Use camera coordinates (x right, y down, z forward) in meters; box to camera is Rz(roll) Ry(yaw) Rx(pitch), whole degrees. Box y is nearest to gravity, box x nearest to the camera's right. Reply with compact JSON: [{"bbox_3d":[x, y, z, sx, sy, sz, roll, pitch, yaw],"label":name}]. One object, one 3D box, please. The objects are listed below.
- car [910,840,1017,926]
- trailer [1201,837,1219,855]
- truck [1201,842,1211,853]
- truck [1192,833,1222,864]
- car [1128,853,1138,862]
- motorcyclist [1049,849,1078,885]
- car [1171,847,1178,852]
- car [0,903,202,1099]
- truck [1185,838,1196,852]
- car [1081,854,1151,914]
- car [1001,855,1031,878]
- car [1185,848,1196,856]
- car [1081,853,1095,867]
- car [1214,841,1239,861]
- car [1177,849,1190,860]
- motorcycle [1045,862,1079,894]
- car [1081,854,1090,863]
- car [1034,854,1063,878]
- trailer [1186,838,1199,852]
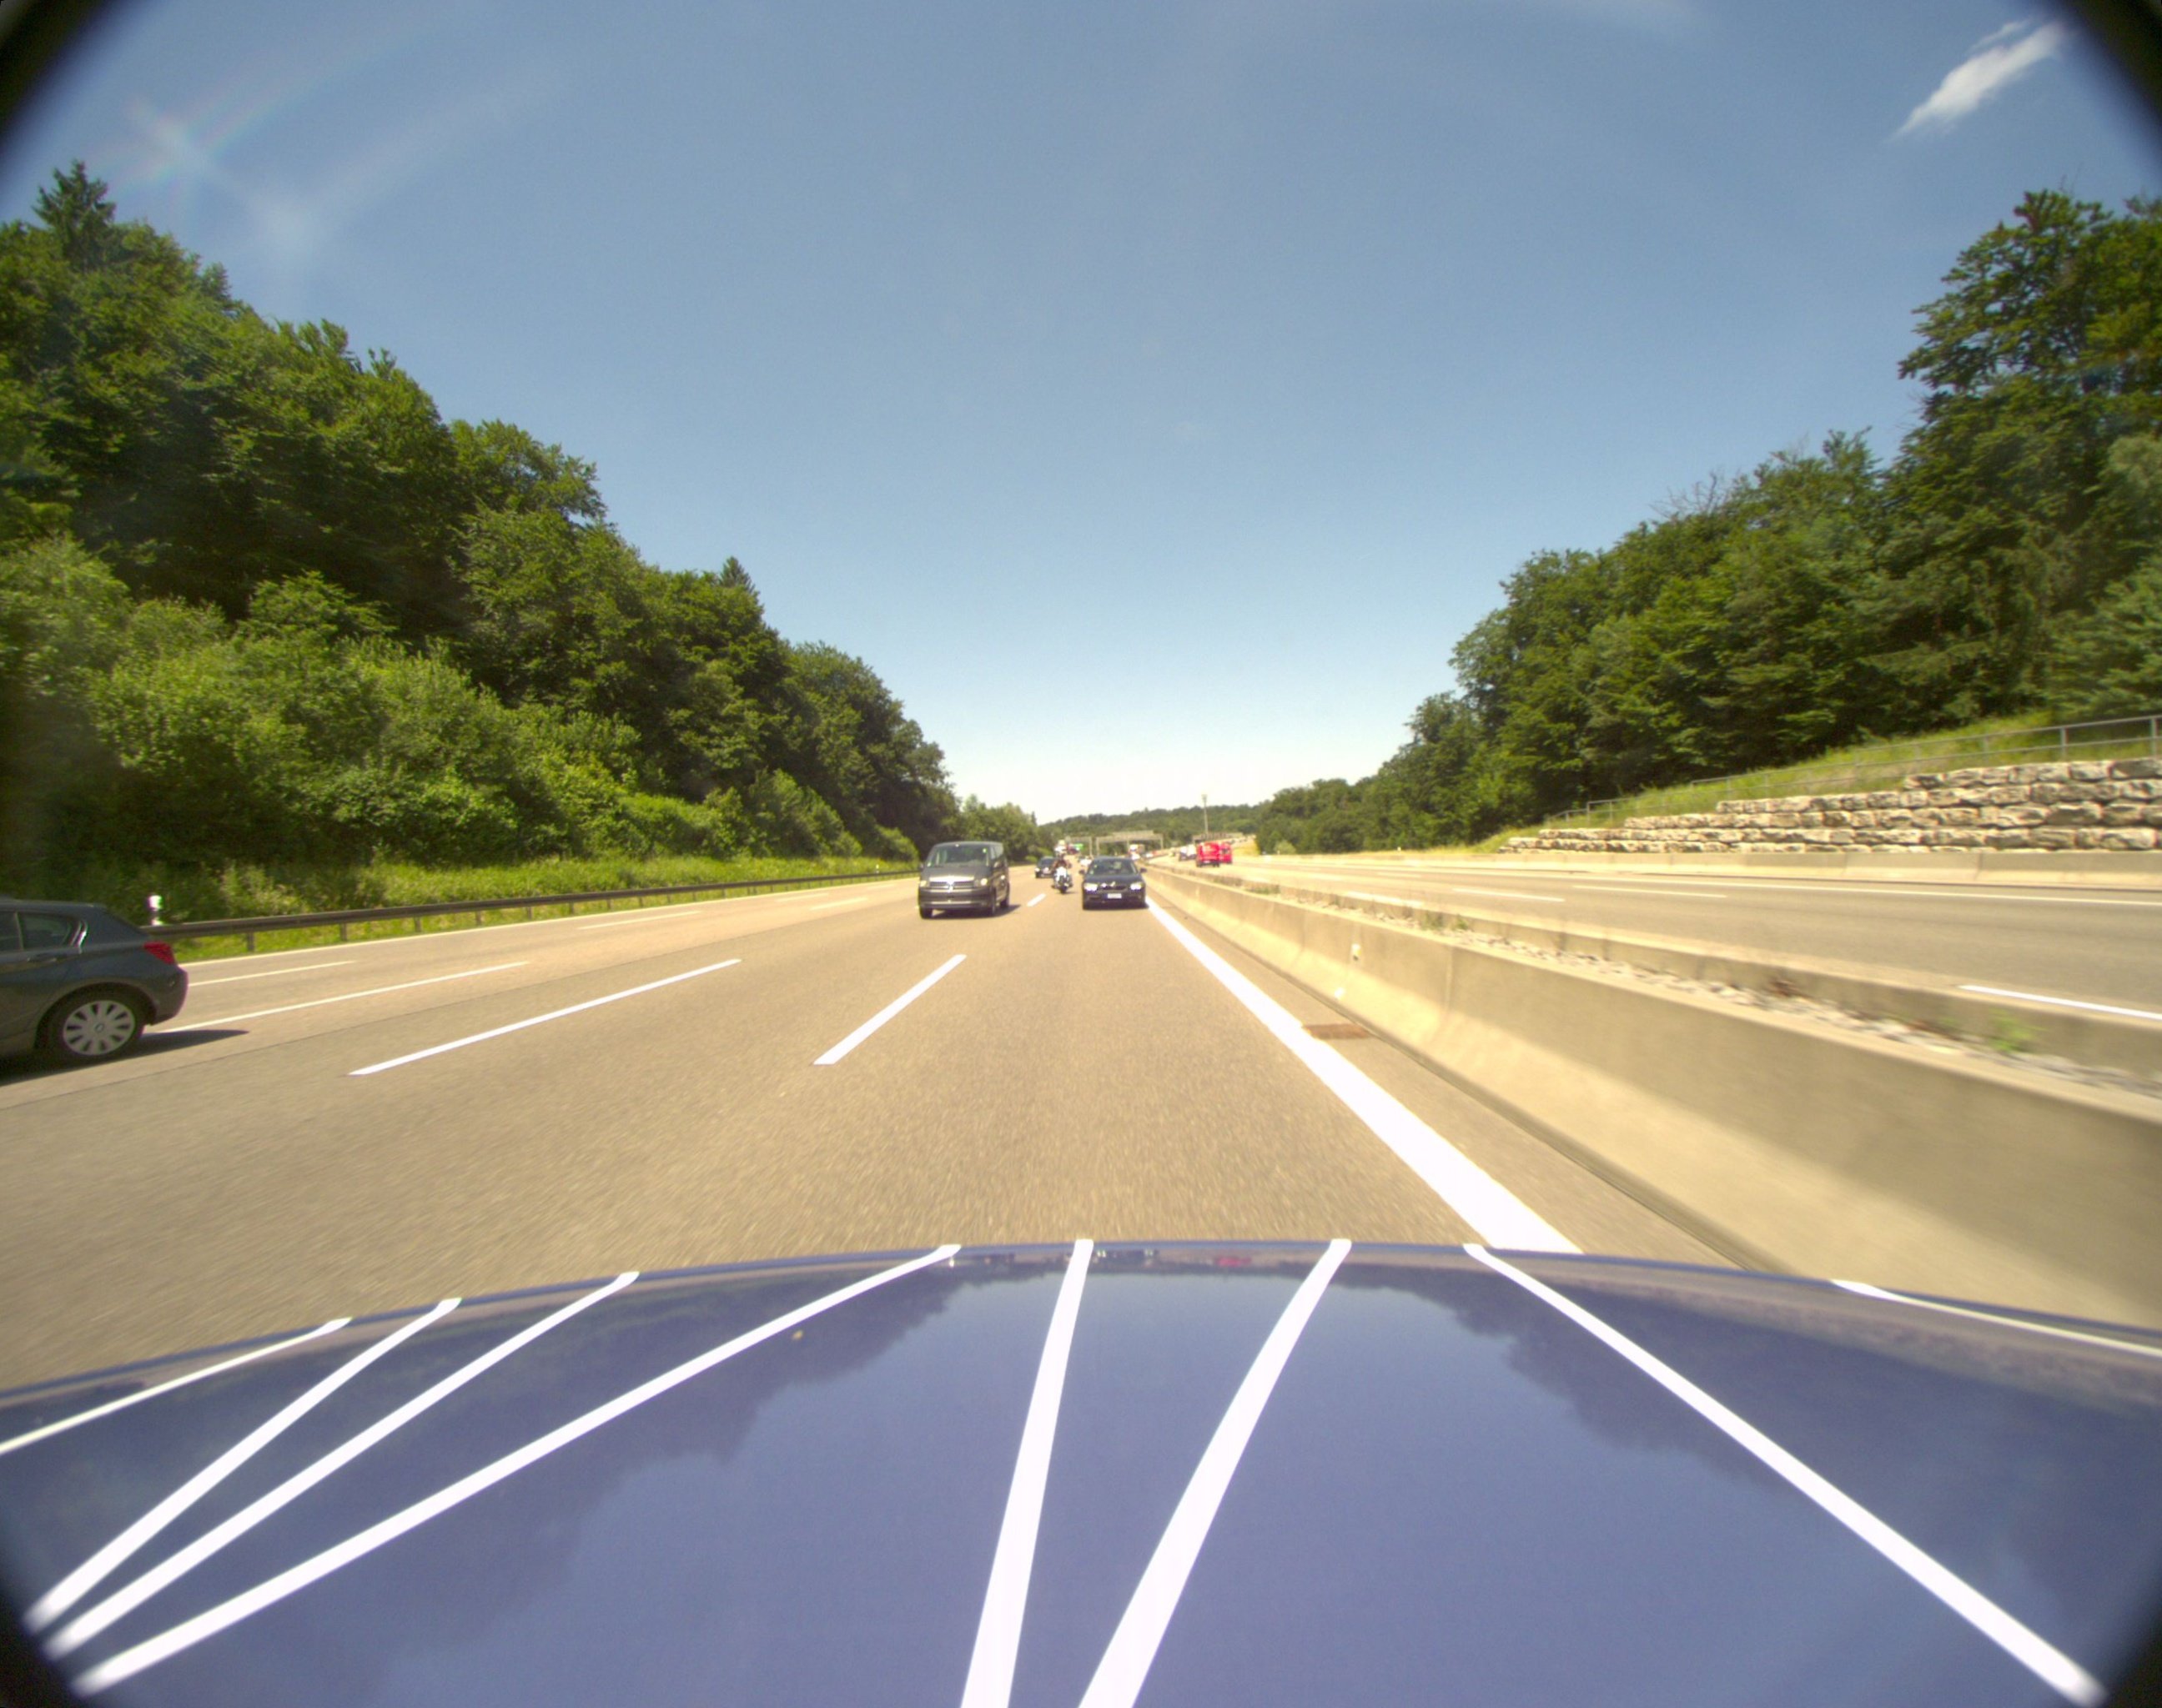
[{"bbox_3d":[-3.081,0.694,21.101,1.967,2.022,5.083,-2,0,2],"label":"car"},{"bbox_3d":[30.699,-1.925,181.108,2.729,3.981,13.728,-2,0,4],"label":"trailer"},{"bbox_3d":[42.696,-2.153,259.446,2.615,3.446,9.885,-3,1,6],"label":"truck"},{"bbox_3d":[13.009,-0.546,78.741,2.115,2.959,7.016,-3,-1,2],"label":"truck"},{"bbox_3d":[11.490,0.770,168.121,1.998,2.002,4.001,-3,0,3],"label":"car"},{"bbox_3d":[-0.695,0.508,30.474,0.853,1.419,1.024,-1,2,18],"label":"motorcyclist"},{"bbox_3d":[31.420,-1.427,255.067,1.998,1.695,4.954,-2,0,5],"label":"car"},{"bbox_3d":[-9.080,1.191,4.946,1.706,1.388,4.154,-2,0,3],"label":"car"},{"bbox_3d":[31.195,-2.499,216.060,2.536,3.917,6.803,-2,0,4],"label":"truck"},{"bbox_3d":[1.045,0.802,22.032,1.769,1.496,4.001,-3,0,4],"label":"car"},{"bbox_3d":[-4.604,0.874,54.351,1.754,1.510,4.483,-2,0,-1],"label":"car"},{"bbox_3d":[24.153,-0.424,167.695,1.998,1.474,4.581,-3,0,5],"label":"car"},{"bbox_3d":[1.037,0.868,114.089,1.730,1.522,3.739,12,5,1],"label":"car"},{"bbox_3d":[17.955,-0.325,94.066,1.998,2.273,5.803,-3,0,2],"label":"car"},{"bbox_3d":[20.284,0.099,150.533,1.998,1.861,5.252,-3,1,4],"label":"car"},{"bbox_3d":[-0.728,0.948,30.238,0.536,1.129,2.439,-1,1,19],"label":"motorcycle"},{"bbox_3d":[1.060,1.138,181.287,1.998,2.001,4.002,-2,-2,0],"label":"car"},{"bbox_3d":[-2.288,0.826,53.792,1.760,1.431,3.998,-2,2,1],"label":"car"},{"bbox_3d":[30.862,-2.429,210.721,2.544,3.858,11.698,-2,0,4],"label":"trailer"}]
